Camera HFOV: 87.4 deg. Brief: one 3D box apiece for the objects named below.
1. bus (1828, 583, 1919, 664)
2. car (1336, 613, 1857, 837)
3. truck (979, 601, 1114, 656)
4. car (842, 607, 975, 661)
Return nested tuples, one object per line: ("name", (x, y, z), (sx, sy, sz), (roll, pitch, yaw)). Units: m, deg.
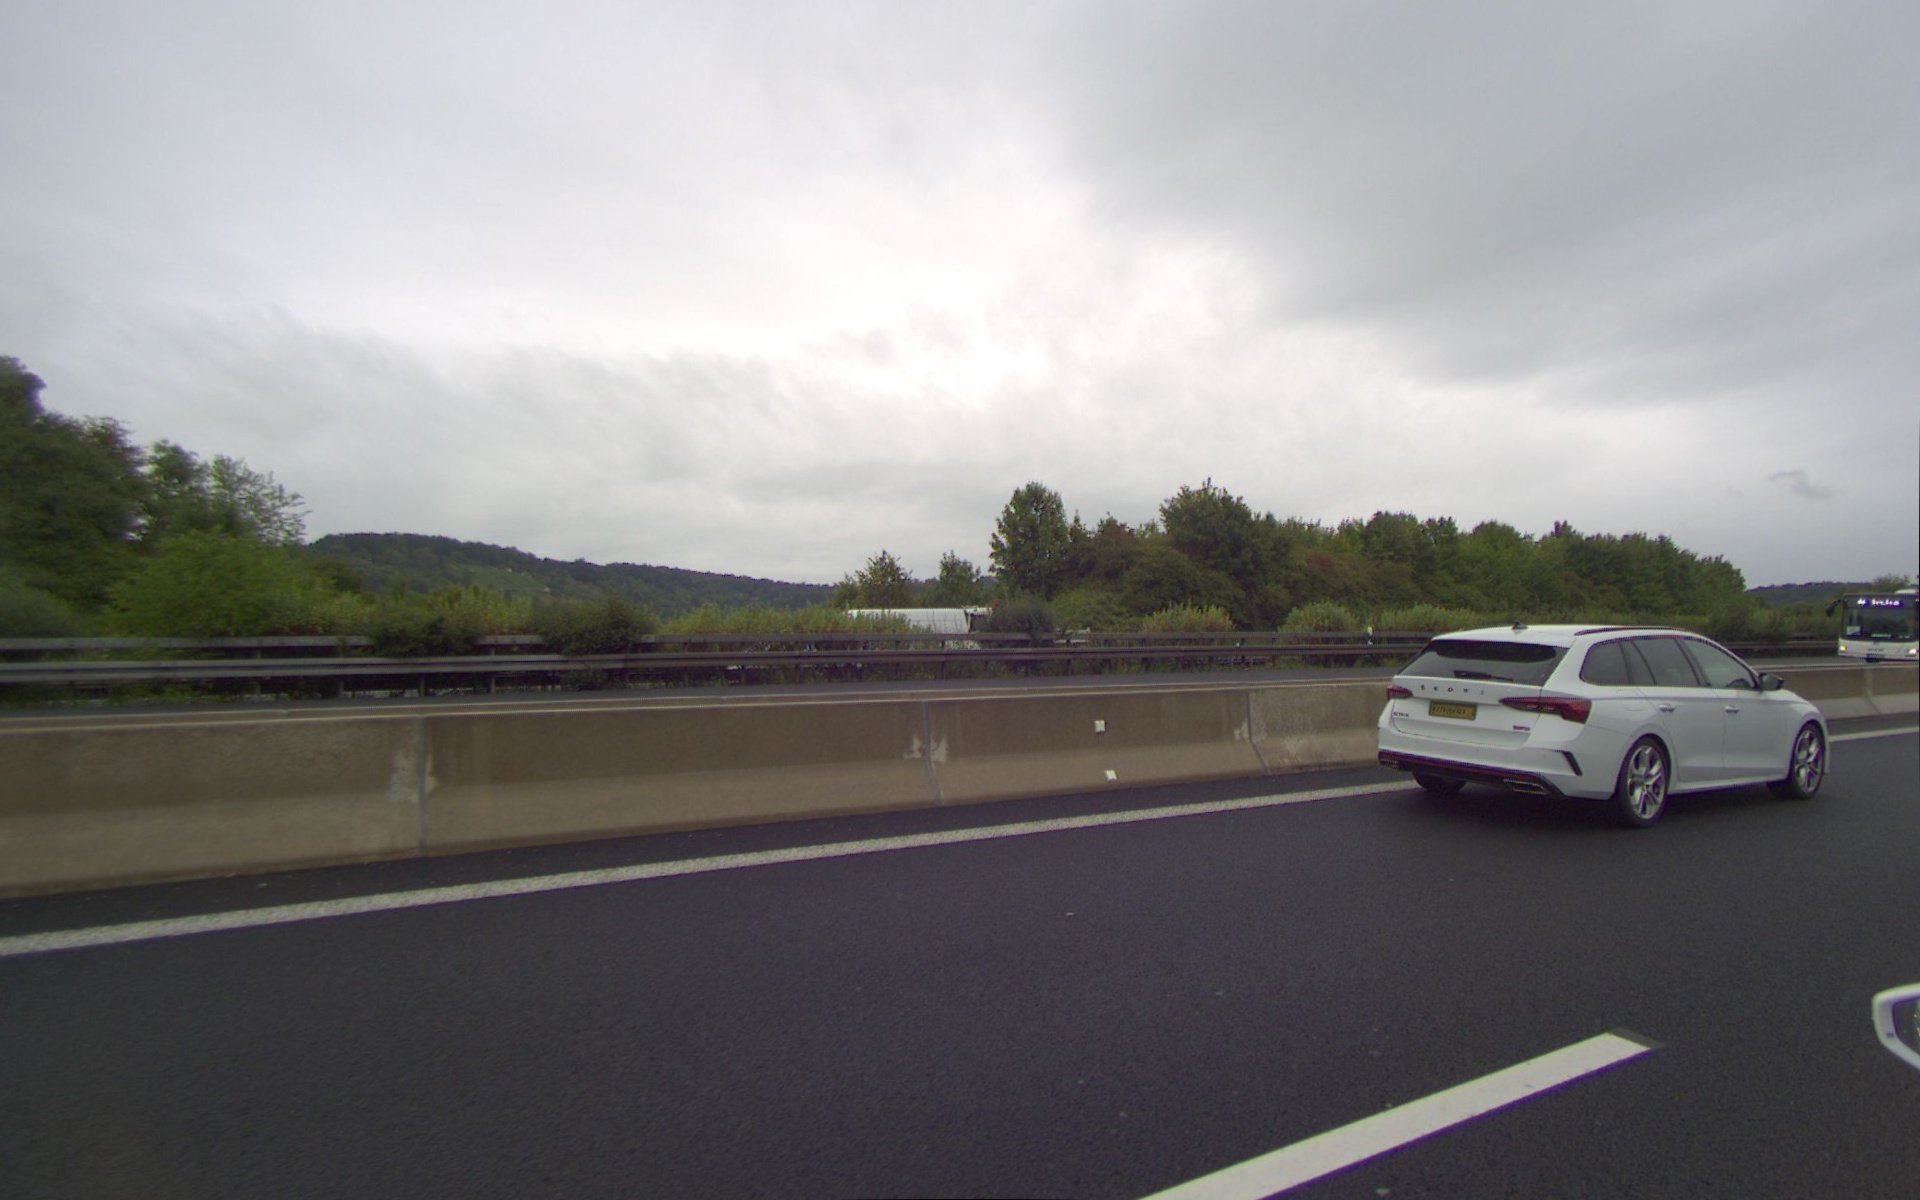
("bus", (40.269, 1.060, 41.395), (11.747, 2.997, 2.688), (2, -2, -28))
("car", (5.556, 0.894, 8.607), (4.721, 1.475, 1.810), (2, -2, -30))
("truck", (3.866, 1.272, 44.182), (6.099, 2.271, 2.012), (1, -2, -35))
("car", (-1.783, 1.192, 35.244), (4.358, 1.810, 1.793), (1, -2, -29))
